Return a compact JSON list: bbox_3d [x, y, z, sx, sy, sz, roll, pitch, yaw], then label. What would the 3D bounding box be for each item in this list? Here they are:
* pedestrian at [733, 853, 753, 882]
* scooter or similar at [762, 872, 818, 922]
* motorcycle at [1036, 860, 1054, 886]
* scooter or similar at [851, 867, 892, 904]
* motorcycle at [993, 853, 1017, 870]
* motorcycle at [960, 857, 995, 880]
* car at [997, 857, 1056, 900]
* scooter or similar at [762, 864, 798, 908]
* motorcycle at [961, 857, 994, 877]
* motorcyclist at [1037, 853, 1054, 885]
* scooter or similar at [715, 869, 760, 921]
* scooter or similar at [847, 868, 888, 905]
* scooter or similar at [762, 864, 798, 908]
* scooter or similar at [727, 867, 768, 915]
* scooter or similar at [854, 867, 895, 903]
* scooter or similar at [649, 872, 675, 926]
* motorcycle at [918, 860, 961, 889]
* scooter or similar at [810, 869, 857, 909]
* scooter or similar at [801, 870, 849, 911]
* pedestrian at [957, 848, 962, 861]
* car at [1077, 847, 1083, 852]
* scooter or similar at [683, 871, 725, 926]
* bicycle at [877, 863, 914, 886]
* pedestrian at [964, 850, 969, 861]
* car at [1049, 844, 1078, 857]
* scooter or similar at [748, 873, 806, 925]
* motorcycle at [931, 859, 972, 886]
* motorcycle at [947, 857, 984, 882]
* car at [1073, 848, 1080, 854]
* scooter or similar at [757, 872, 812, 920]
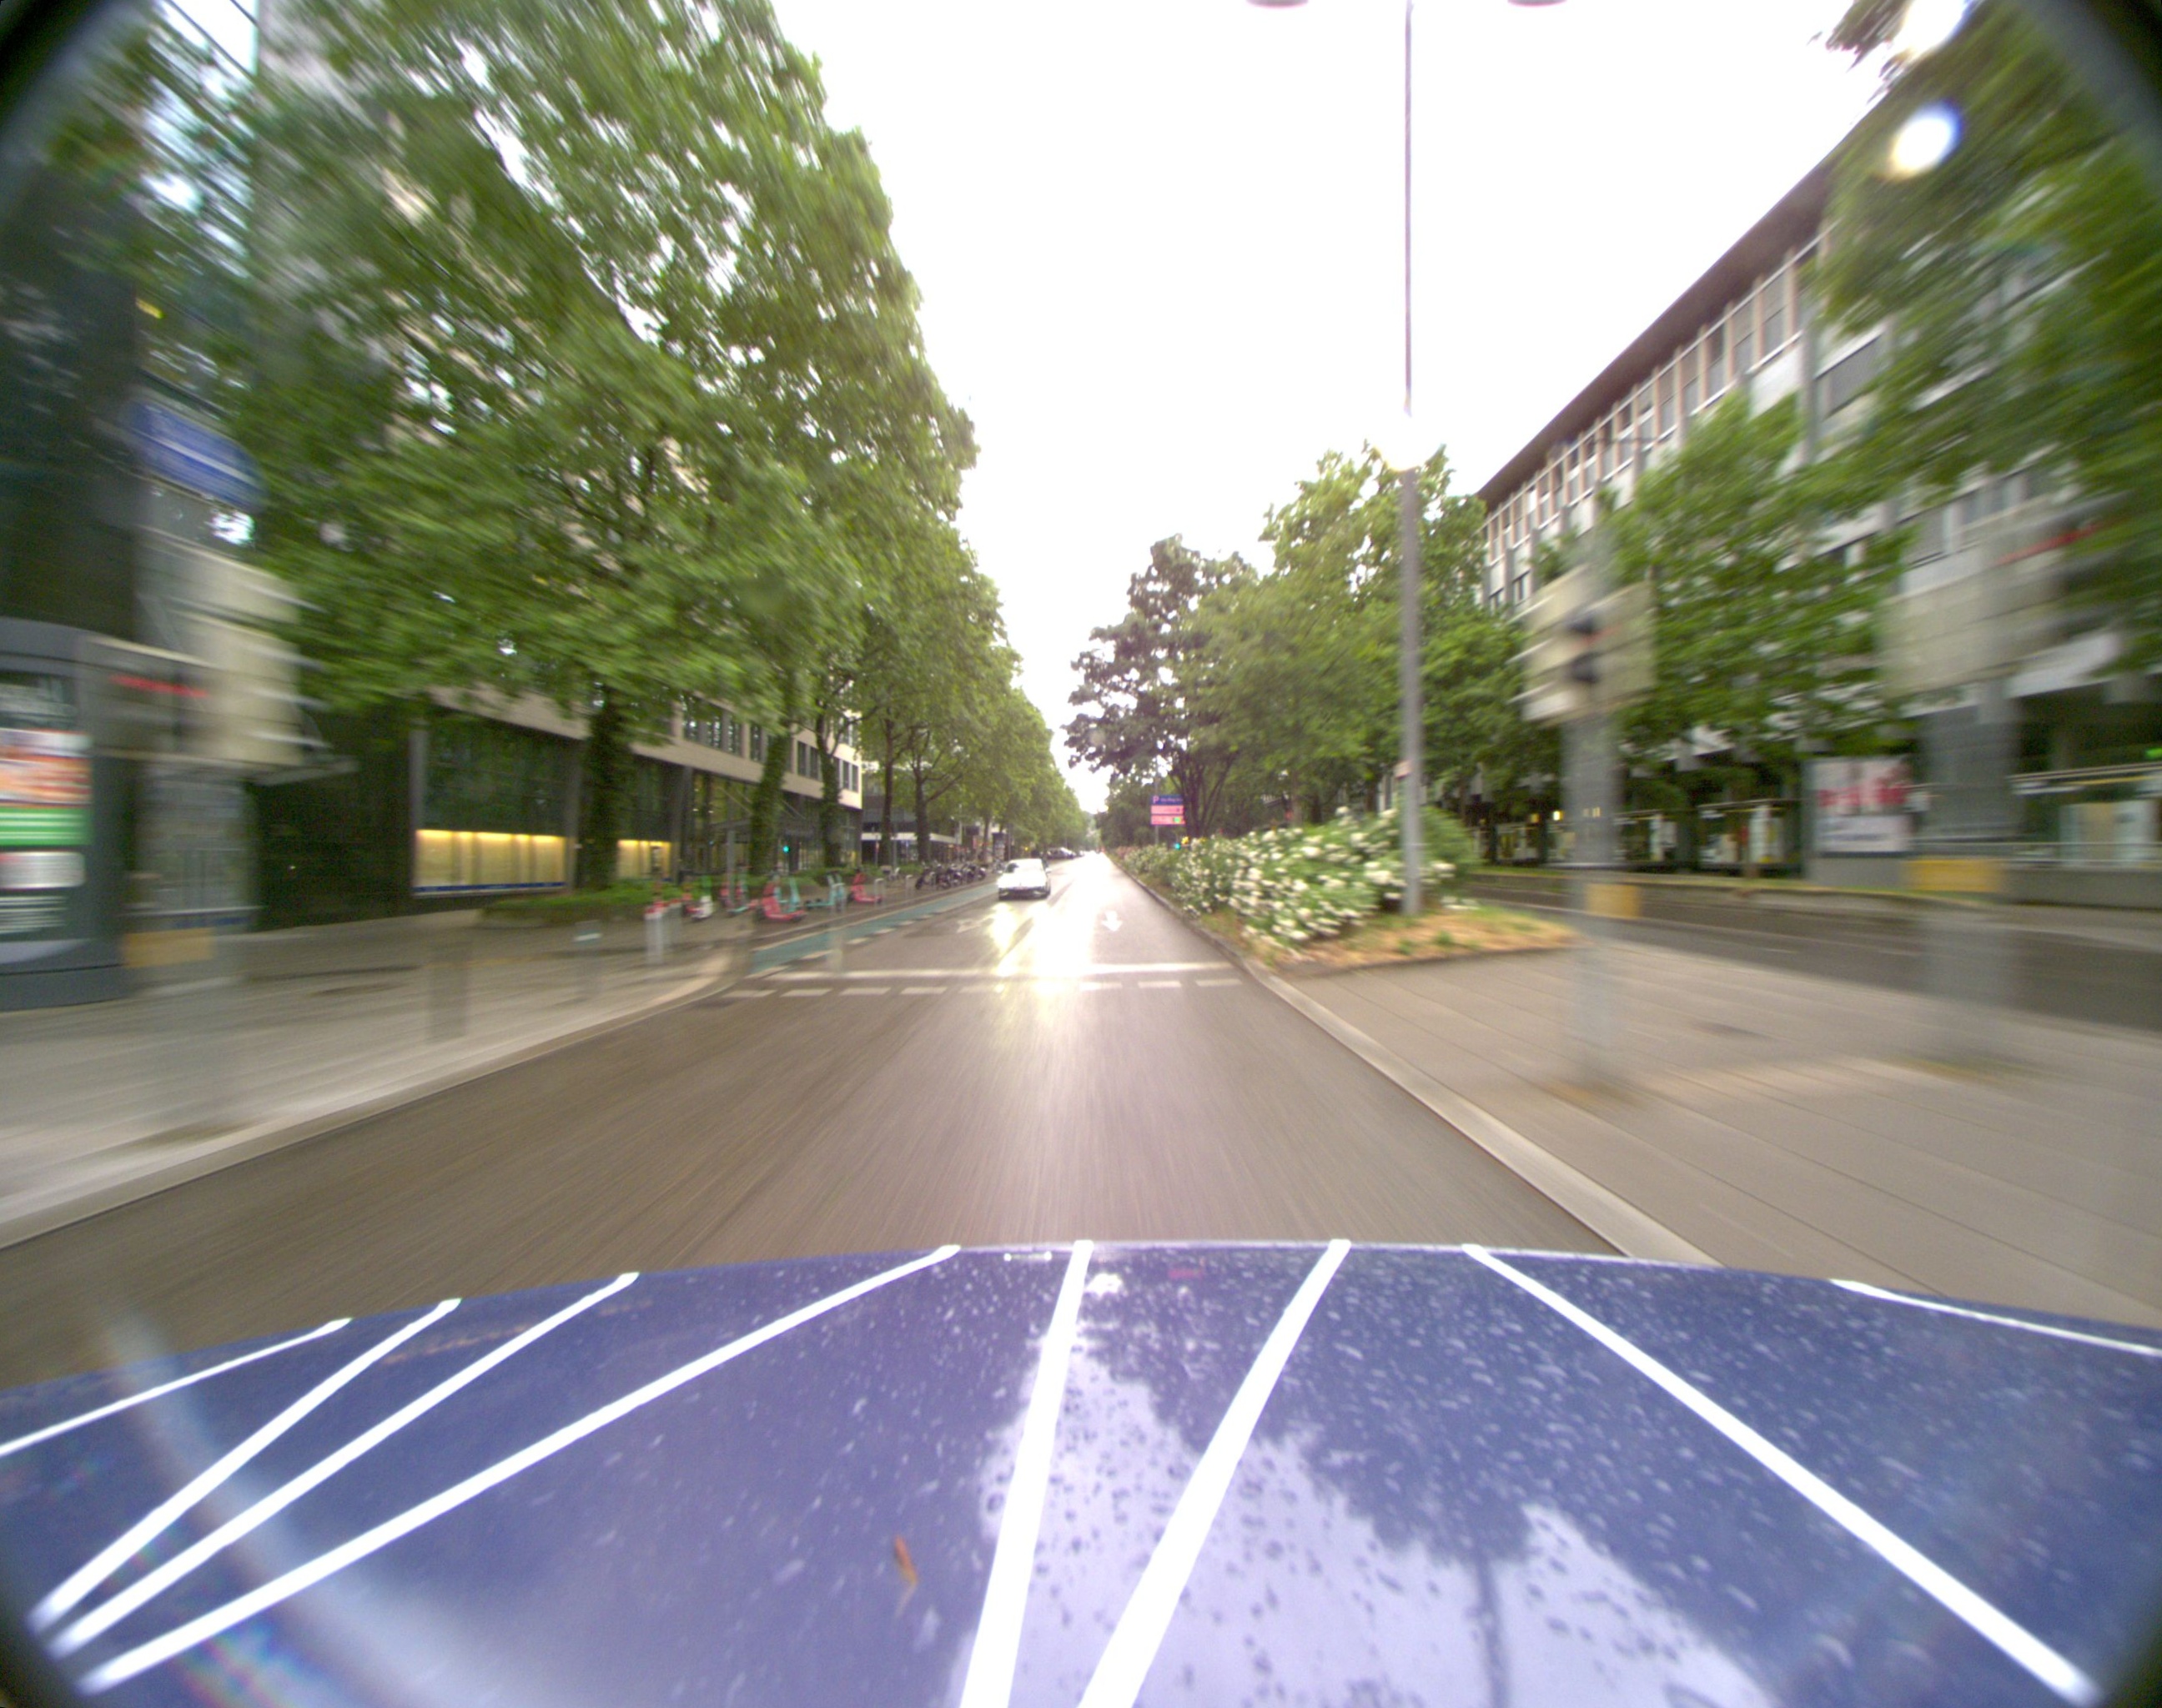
[{"bbox_3d":[-19.861,0.789,44.657,0.727,1.683,0.830,1,1,44],"label":"pedestrian"},{"bbox_3d":[-7.525,1.104,19.652,1.291,1.252,0.490,0,-1,13],"label":"scooter or similar"},{"bbox_3d":[-1.820,0.954,38.792,0.744,1.194,2.235,-2,1,2],"label":"motorcycle"},{"bbox_3d":[-7.373,1.101,26.764,1.292,1.270,0.537,0,-1,5],"label":"scooter or similar"},{"bbox_3d":[-6.326,0.600,63.142,0.682,1.359,1.950,4,2,42],"label":"motorcycle"},{"bbox_3d":[-6.437,0.897,47.352,2.062,1.420,0.728,1,-1,-20],"label":"motorcycle"},{"bbox_3d":[-2.023,0.883,29.130,1.795,1.463,3.794,-2,1,2],"label":"car"},{"bbox_3d":[-8.705,0.910,22.019,0.489,1.252,1.294,1,-1,2],"label":"scooter or similar"},{"bbox_3d":[-6.776,0.858,49.756,2.064,1.206,0.683,1,1,-34],"label":"motorcycle"},{"bbox_3d":[-1.824,0.738,38.841,0.744,1.575,1.059,-2,2,2],"label":"motorcyclist"},{"bbox_3d":[-8.601,1.014,19.069,0.489,1.252,1.294,1,-1,2],"label":"scooter or similar"},{"bbox_3d":[-7.317,1.114,26.078,1.294,1.270,0.536,1,-1,-9],"label":"scooter or similar"},{"bbox_3d":[-8.705,0.910,22.019,0.489,1.252,1.294,1,-1,2],"label":"scooter or similar"},{"bbox_3d":[-9.128,0.993,20.834,0.489,1.252,1.294,1,-1,2],"label":"scooter or similar"},{"bbox_3d":[-7.378,1.092,27.208,1.292,1.270,0.537,0,-1,5],"label":"scooter or similar"},{"bbox_3d":[-10.196,1.072,18.483,0.490,1.191,1.290,-2,2,-29],"label":"scooter or similar"},{"bbox_3d":[-6.756,0.962,36.244,1.963,1.365,0.728,1,-1,-15],"label":"motorcycle"},{"bbox_3d":[-7.797,1.092,23.954,1.292,1.228,0.489,0,-1,4],"label":"scooter or similar"},{"bbox_3d":[-7.814,1.108,23.210,1.292,1.228,0.489,0,-1,4],"label":"scooter or similar"},{"bbox_3d":[-18.508,0.081,115.884,0.523,1.849,0.704,1,2,2],"label":"pedestrian"},{"bbox_3d":[-0.246,-1.327,233.316,1.598,1.517,3.425,-1,1,2],"label":"car"},{"bbox_3d":[-9.028,1.043,18.226,0.489,1.191,1.292,-1,1,-8],"label":"scooter or similar"},{"bbox_3d":[-8.838,0.945,36.205,0.637,1.022,1.766,-1,1,30],"label":"bicycle"},{"bbox_3d":[-17.588,0.213,116.652,0.527,1.616,0.719,1,2,2],"label":"pedestrian"},{"bbox_3d":[-3.971,-0.782,167.847,6.267,2.665,2.326,-1,2,37],"label":"car"},{"bbox_3d":[-7.617,1.119,19.043,1.291,1.252,0.490,0,-1,13],"label":"scooter or similar"},{"bbox_3d":[-6.736,0.958,39.565,1.964,1.365,0.728,1,-1,-20],"label":"motorcycle"},{"bbox_3d":[-6.511,0.882,42.960,1.964,1.365,0.728,1,-1,-20],"label":"motorcycle"},{"bbox_3d":[-1.066,-0.756,191.277,1.598,1.517,3.425,-1,1,2],"label":"car"},{"bbox_3d":[-7.886,1.103,20.196,1.291,1.252,0.490,0,-1,13],"label":"scooter or similar"}]
